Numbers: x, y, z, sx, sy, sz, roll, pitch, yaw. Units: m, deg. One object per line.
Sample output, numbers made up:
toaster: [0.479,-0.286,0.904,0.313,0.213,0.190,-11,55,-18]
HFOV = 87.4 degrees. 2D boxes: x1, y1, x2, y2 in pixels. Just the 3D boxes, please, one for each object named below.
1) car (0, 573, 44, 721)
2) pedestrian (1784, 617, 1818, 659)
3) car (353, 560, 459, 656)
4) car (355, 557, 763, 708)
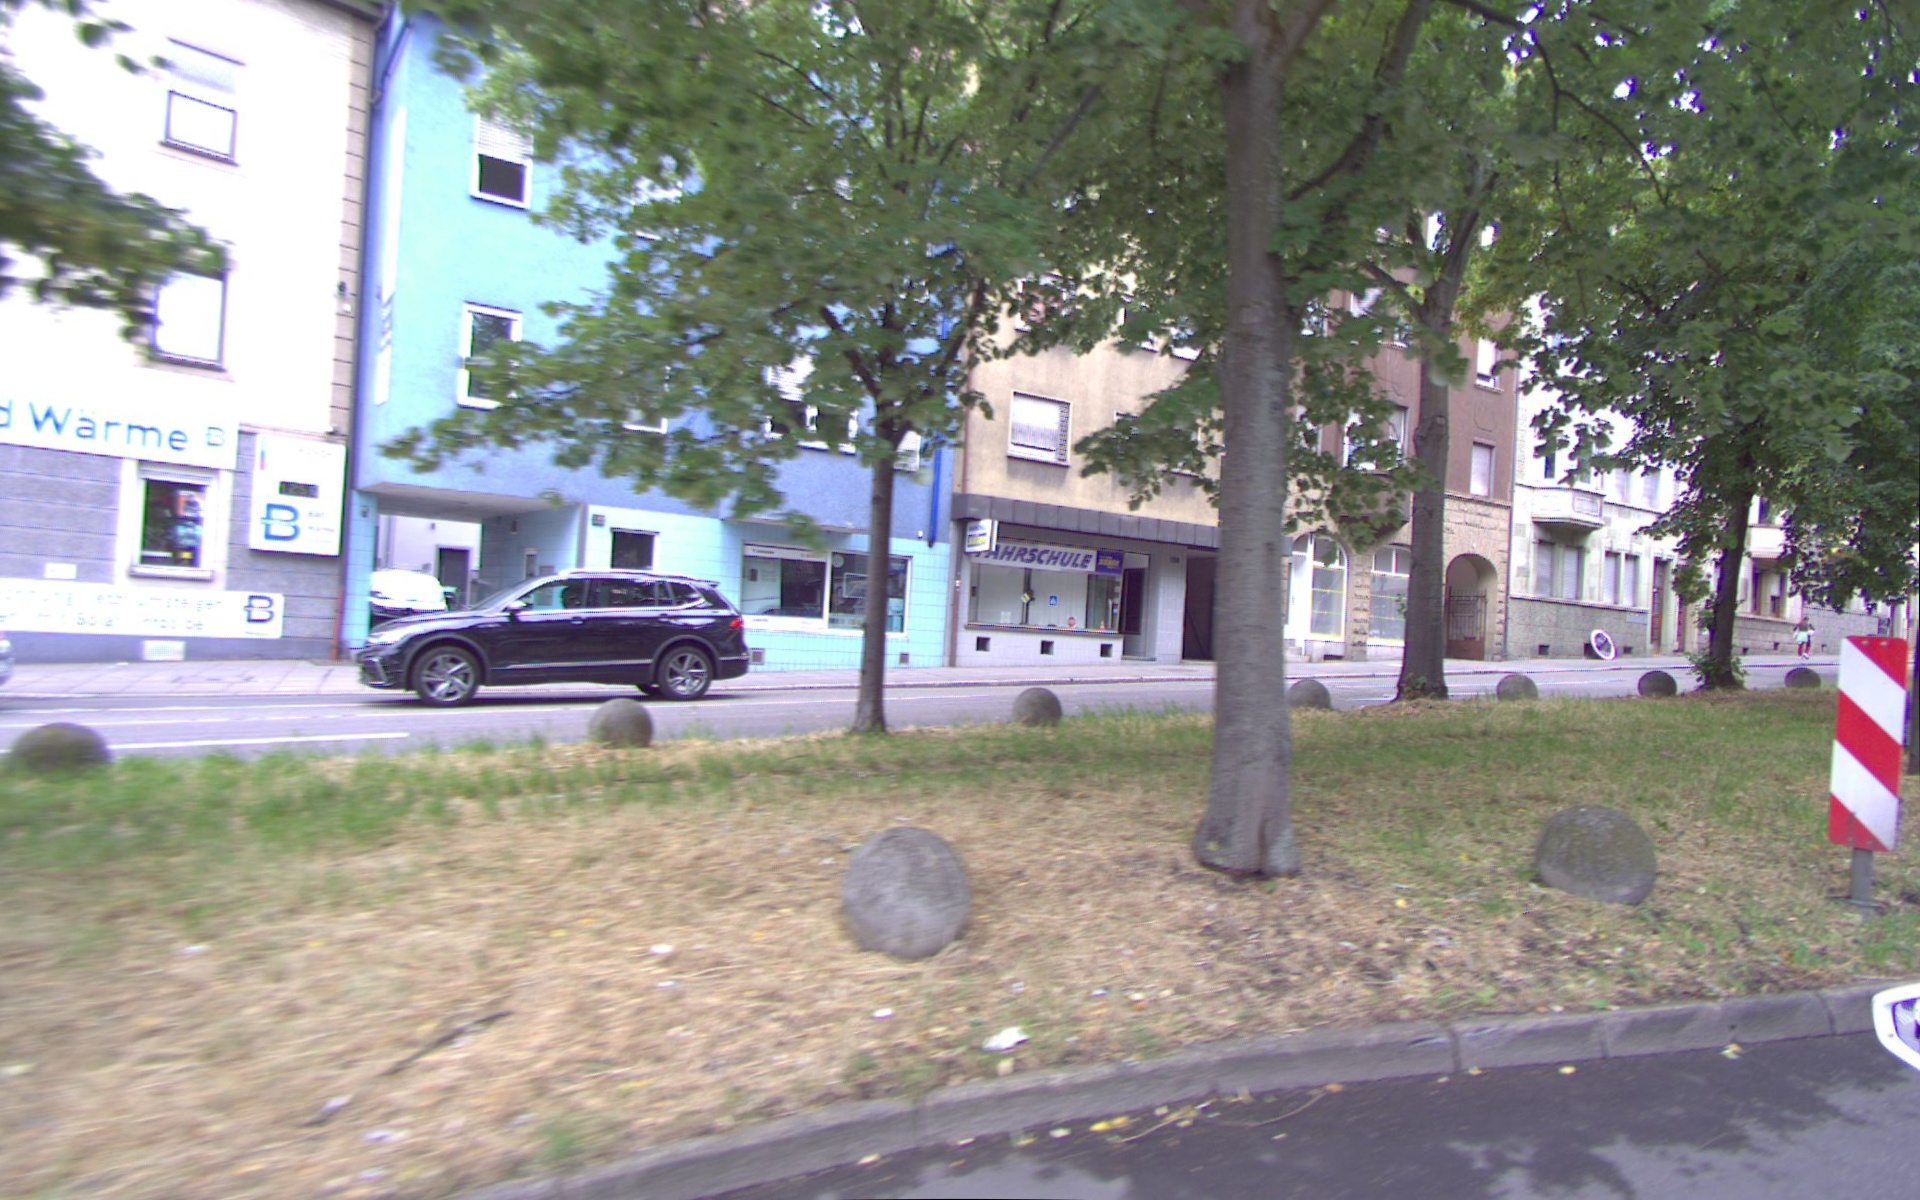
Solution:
car: [-11.405,0.421,9.150,4.247,1.425,1.660,1,-1,-32]
pedestrian: [29.931,1.342,35.749,0.695,1.480,0.696,1,1,-28]
car: [-13.654,0.142,24.616,1.978,2.040,4.901,4,-1,-31]
car: [-5.077,0.466,12.994,4.626,1.658,1.807,3,-2,-31]
